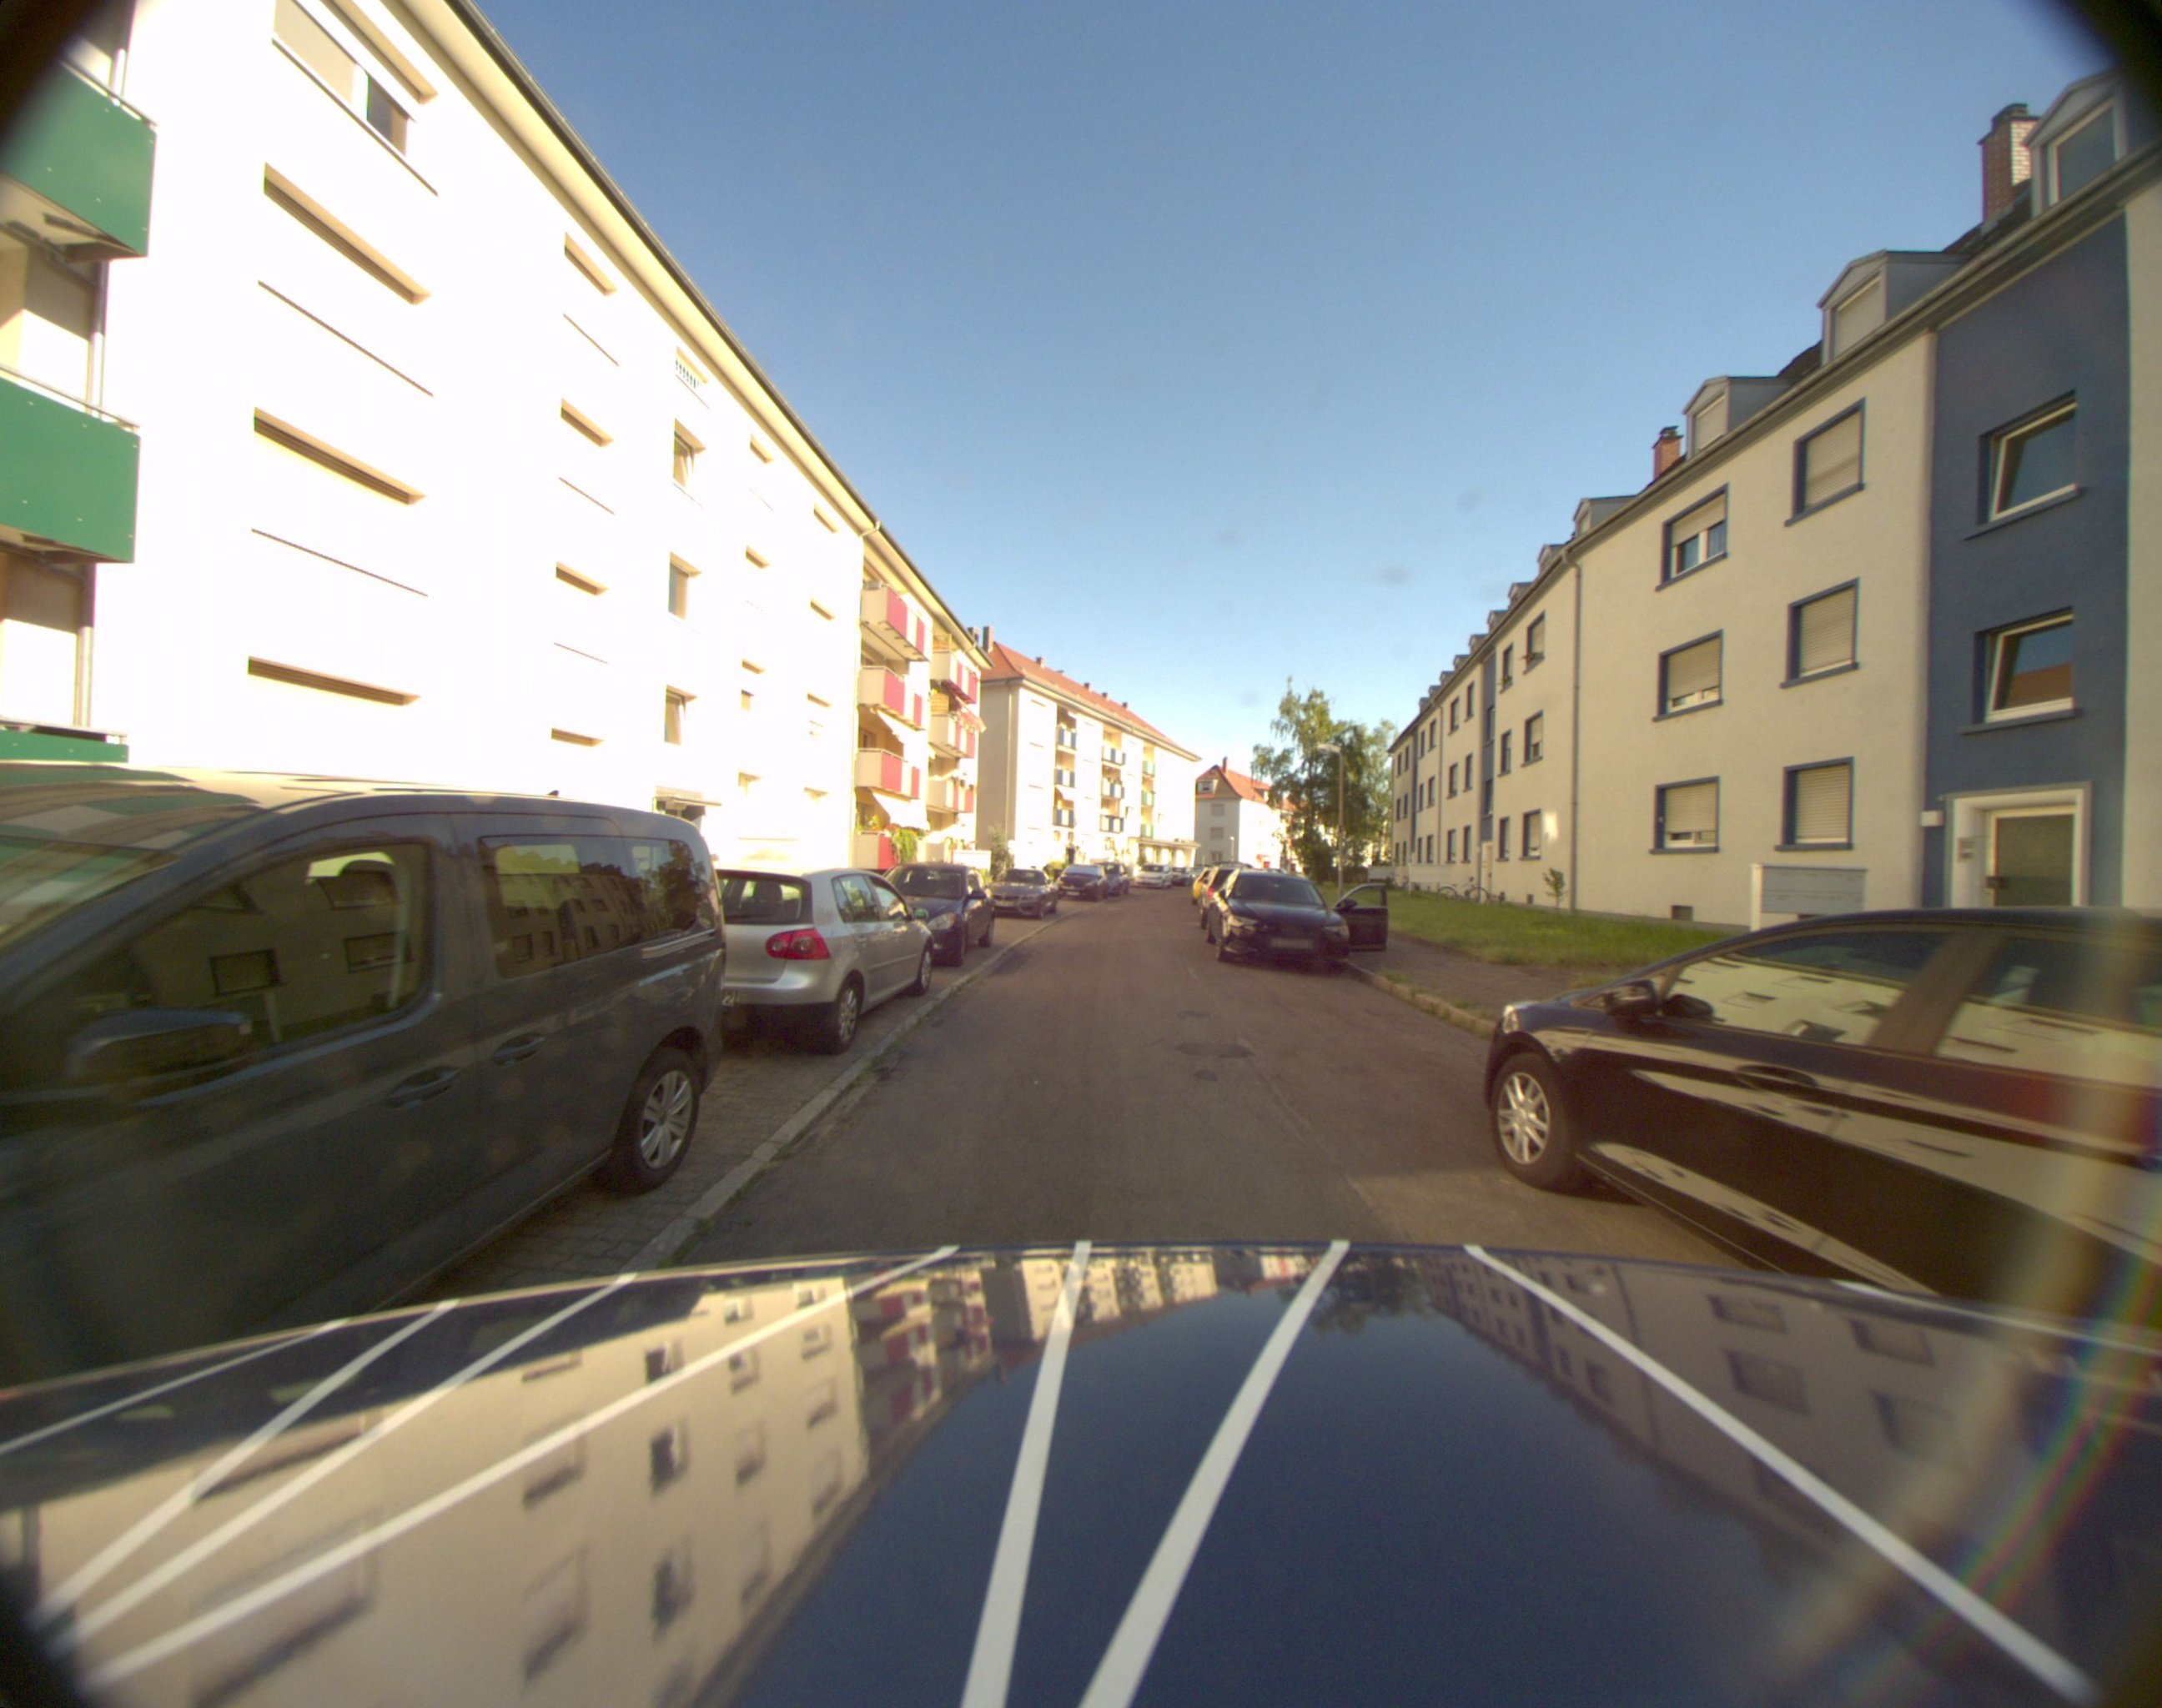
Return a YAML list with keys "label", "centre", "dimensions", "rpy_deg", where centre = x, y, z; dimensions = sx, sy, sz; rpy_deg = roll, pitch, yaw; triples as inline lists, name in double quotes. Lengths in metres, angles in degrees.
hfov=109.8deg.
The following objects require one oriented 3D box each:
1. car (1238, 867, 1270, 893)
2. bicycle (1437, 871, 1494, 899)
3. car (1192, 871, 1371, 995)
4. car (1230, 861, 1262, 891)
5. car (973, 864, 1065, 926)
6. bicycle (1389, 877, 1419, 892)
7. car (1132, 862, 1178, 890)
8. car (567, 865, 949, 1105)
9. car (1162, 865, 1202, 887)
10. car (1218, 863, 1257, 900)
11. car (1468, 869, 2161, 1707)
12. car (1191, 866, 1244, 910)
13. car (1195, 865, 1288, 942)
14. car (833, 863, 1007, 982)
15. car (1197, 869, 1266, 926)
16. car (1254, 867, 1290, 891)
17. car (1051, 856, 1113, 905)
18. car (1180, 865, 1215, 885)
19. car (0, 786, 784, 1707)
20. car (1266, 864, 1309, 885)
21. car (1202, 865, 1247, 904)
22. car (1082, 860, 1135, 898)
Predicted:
- label: "car"
  centre: [11.675, 1.726, 51.265]
  dimensions: [1.639, 1.566, 3.654]
  rpy_deg: [5, 1, 18]
- label: "bicycle"
  centre: [13.732, 1.112, 27.148]
  dimensions: [1.733, 0.984, 0.463]
  rpy_deg: [-1, 1, 15]
- label: "car"
  centre: [3.089, 1.135, 12.716]
  dimensions: [1.904, 1.450, 4.397]
  rpy_deg: [5, 0, 3]
- label: "car"
  centre: [10.099, 1.342, 46.443]
  dimensions: [1.639, 1.631, 3.653]
  rpy_deg: [5, 1, 15]
- label: "car"
  centre: [-1.614, 1.052, 21.082]
  dimensions: [1.676, 1.411, 3.862]
  rpy_deg: [4, 0, 7]
- label: "bicycle"
  centre: [17.671, 1.661, 41.601]
  dimensions: [1.457, 0.760, 0.310]
  rpy_deg: [-1, 1, 15]
- label: "car"
  centre: [4.827, 1.375, 48.880]
  dimensions: [1.754, 1.625, 4.413]
  rpy_deg: [4, 0, 21]
- label: "car"
  centre: [-2.527, 0.904, 7.050]
  dimensions: [1.643, 1.450, 3.861]
  rpy_deg: [4, 0, 3]
- label: "car"
  centre: [7.380, 1.565, 55.002]
  dimensions: [1.754, 1.420, 4.475]
  rpy_deg: [4, 0, 21]
- label: "car"
  centre: [8.343, 1.424, 40.392]
  dimensions: [1.639, 1.692, 3.653]
  rpy_deg: [5, 1, 16]
- label: "car"
  centre: [2.879, 0.909, 2.111]
  dimensions: [1.648, 1.510, 3.702]
  rpy_deg: [5, 0, 1]
- label: "car"
  centre: [5.262, 1.243, 29.055]
  dimensions: [1.717, 1.403, 3.987]
  rpy_deg: [5, 0, 11]
- label: "car"
  centre: [3.849, 1.124, 18.830]
  dimensions: [1.745, 1.507, 3.984]
  rpy_deg: [5, 0, 6]
- label: "car"
  centre: [-2.343, 0.930, 12.083]
  dimensions: [1.667, 1.440, 3.861]
  rpy_deg: [4, 0, 3]
- label: "car"
  centre: [4.592, 1.285, 23.657]
  dimensions: [1.718, 1.403, 3.985]
  rpy_deg: [5, 0, 7]
- label: "car"
  centre: [14.104, 1.835, 56.029]
  dimensions: [1.638, 1.566, 3.656]
  rpy_deg: [5, 1, 29]
- label: "car"
  centre: [0.109, 1.007, 30.952]
  dimensions: [1.580, 1.752, 4.243]
  rpy_deg: [4, 0, 12]
- label: "car"
  centre: [9.304, 1.692, 60.455]
  dimensions: [1.754, 1.420, 4.098]
  rpy_deg: [4, 0, 23]
- label: "car"
  centre: [-2.775, 0.744, 2.166]
  dimensions: [1.763, 1.829, 4.919]
  rpy_deg: [4, 0, 1]
- label: "car"
  centre: [16.413, 1.644, 60.344]
  dimensions: [1.571, 1.417, 3.989]
  rpy_deg: [5, 1, 41]
- label: "car"
  centre: [6.648, 1.365, 34.951]
  dimensions: [1.639, 1.539, 3.653]
  rpy_deg: [5, 0, 15]
- label: "car"
  centre: [1.388, 1.170, 36.672]
  dimensions: [1.755, 1.724, 4.004]
  rpy_deg: [-2, -1, 13]
